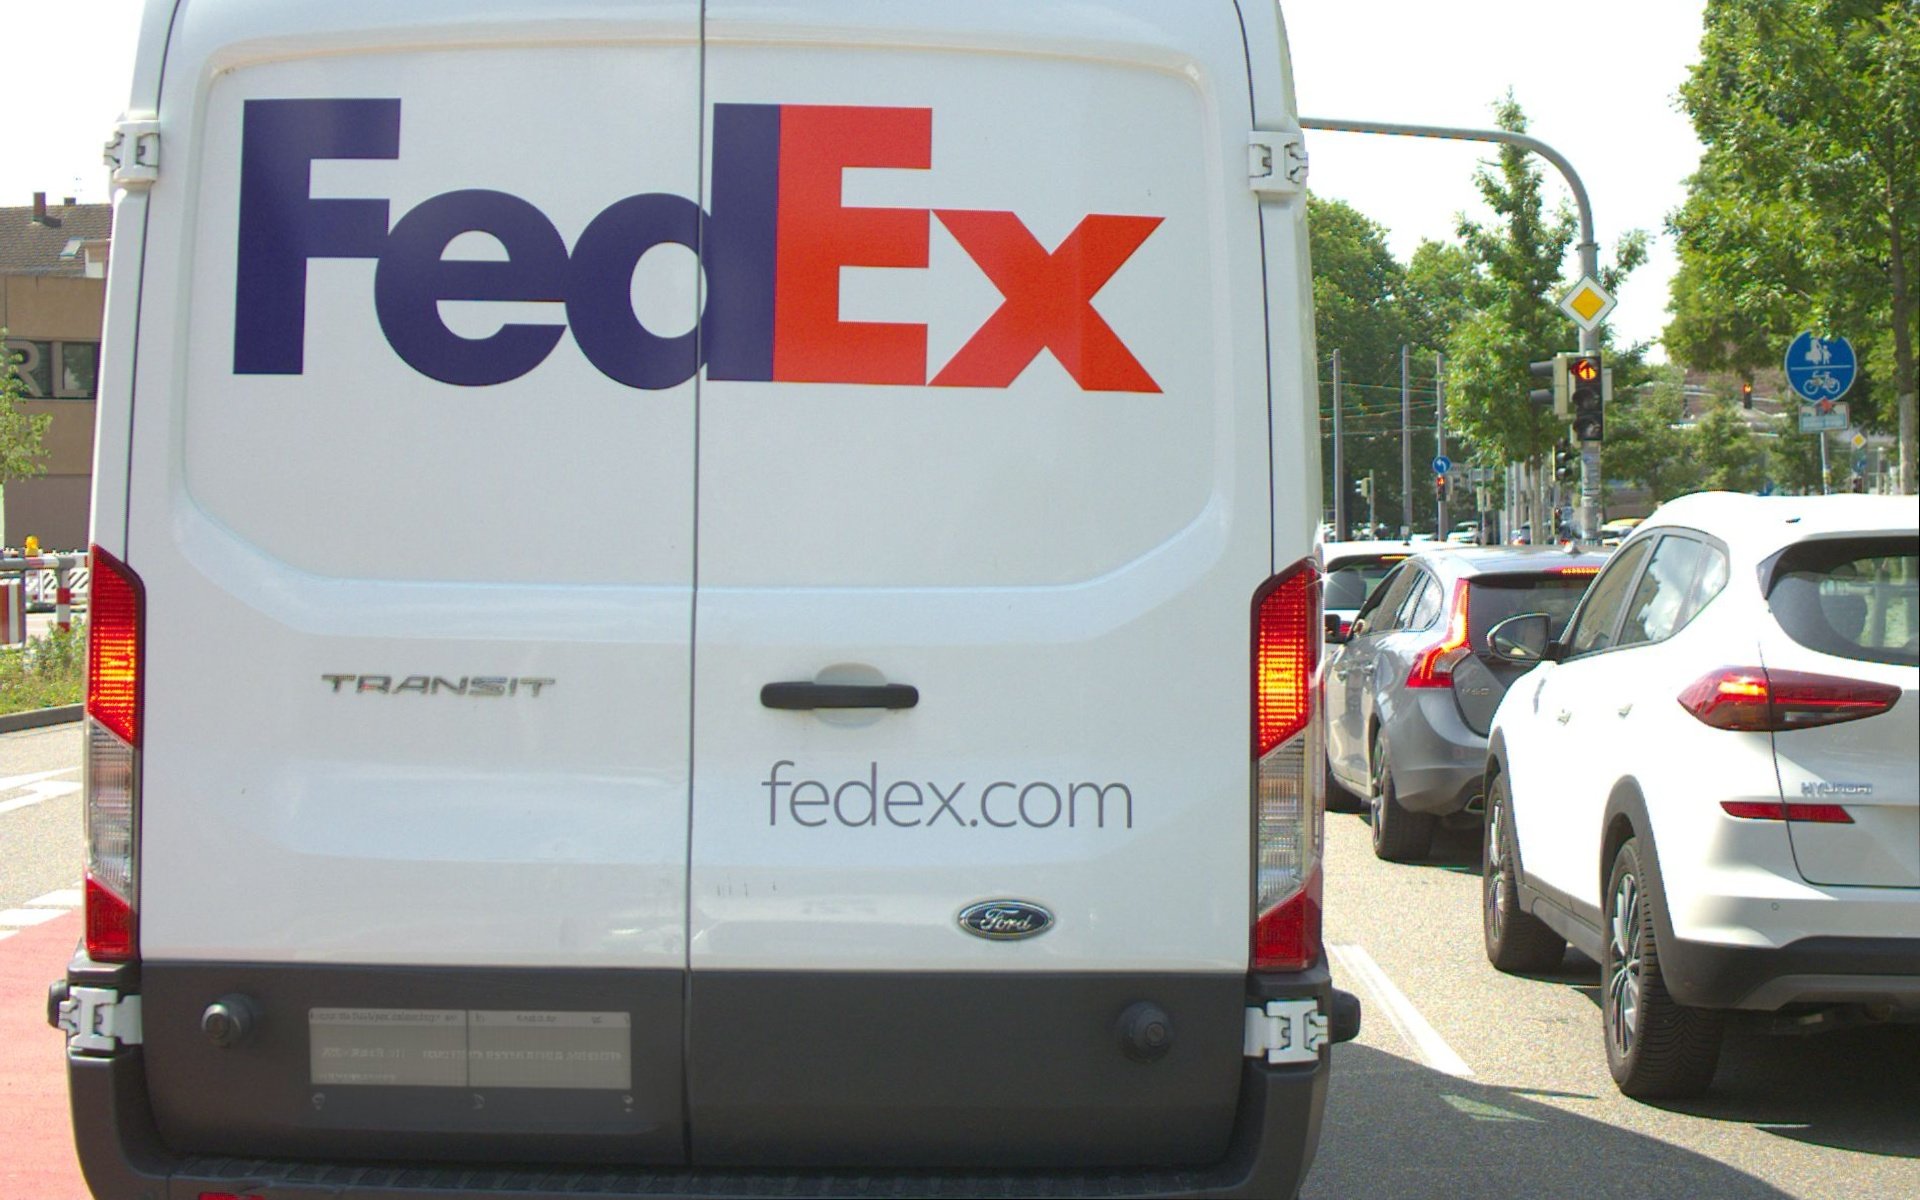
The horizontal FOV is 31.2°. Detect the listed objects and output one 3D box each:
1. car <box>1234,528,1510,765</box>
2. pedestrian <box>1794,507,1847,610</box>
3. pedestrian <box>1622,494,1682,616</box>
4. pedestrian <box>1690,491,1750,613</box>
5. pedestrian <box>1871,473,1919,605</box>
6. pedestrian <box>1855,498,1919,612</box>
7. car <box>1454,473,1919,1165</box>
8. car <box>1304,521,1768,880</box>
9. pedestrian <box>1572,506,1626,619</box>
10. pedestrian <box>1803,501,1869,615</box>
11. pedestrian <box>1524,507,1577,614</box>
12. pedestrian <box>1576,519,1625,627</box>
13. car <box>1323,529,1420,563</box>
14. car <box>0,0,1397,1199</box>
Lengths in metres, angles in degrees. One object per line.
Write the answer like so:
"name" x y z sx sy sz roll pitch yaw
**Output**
"car" 2.722 0.257 23.301 1.499 1.459 3.474 0 1 1
"pedestrian" 15.638 -0.760 62.479 0.759 1.843 0.816 -1 1 0
"pedestrian" 10.561 -0.697 52.486 0.759 1.843 0.816 -1 1 1
"pedestrian" 11.640 -0.739 52.663 0.759 1.843 0.816 -1 1 3
"pedestrian" 12.990 -0.842 47.256 0.759 1.783 0.816 0 1 5
"pedestrian" 15.150 -0.736 56.174 0.758 1.843 0.816 -1 1 -8
"car" 2.645 0.476 10.294 1.814 1.673 3.974 0 1 1
"car" 2.692 0.396 16.815 1.691 1.543 3.720 0 1 1
"pedestrian" 10.543 -0.627 56.694 0.759 1.843 0.815 0 1 18
"pedestrian" 14.240 -0.687 55.894 0.758 1.843 0.816 -1 1 -10
"pedestrian" 10.289 -0.692 59.953 0.813 1.843 0.761 0 1 3
"pedestrian" 10.999 -0.470 59.054 0.759 1.843 0.816 0 1 15
"car" 19.079 -2.521 159.520 4.232 1.493 1.741 -1 1 -1
"car" -0.373 0.071 7.201 2.072 2.572 4.428 0 1 1
